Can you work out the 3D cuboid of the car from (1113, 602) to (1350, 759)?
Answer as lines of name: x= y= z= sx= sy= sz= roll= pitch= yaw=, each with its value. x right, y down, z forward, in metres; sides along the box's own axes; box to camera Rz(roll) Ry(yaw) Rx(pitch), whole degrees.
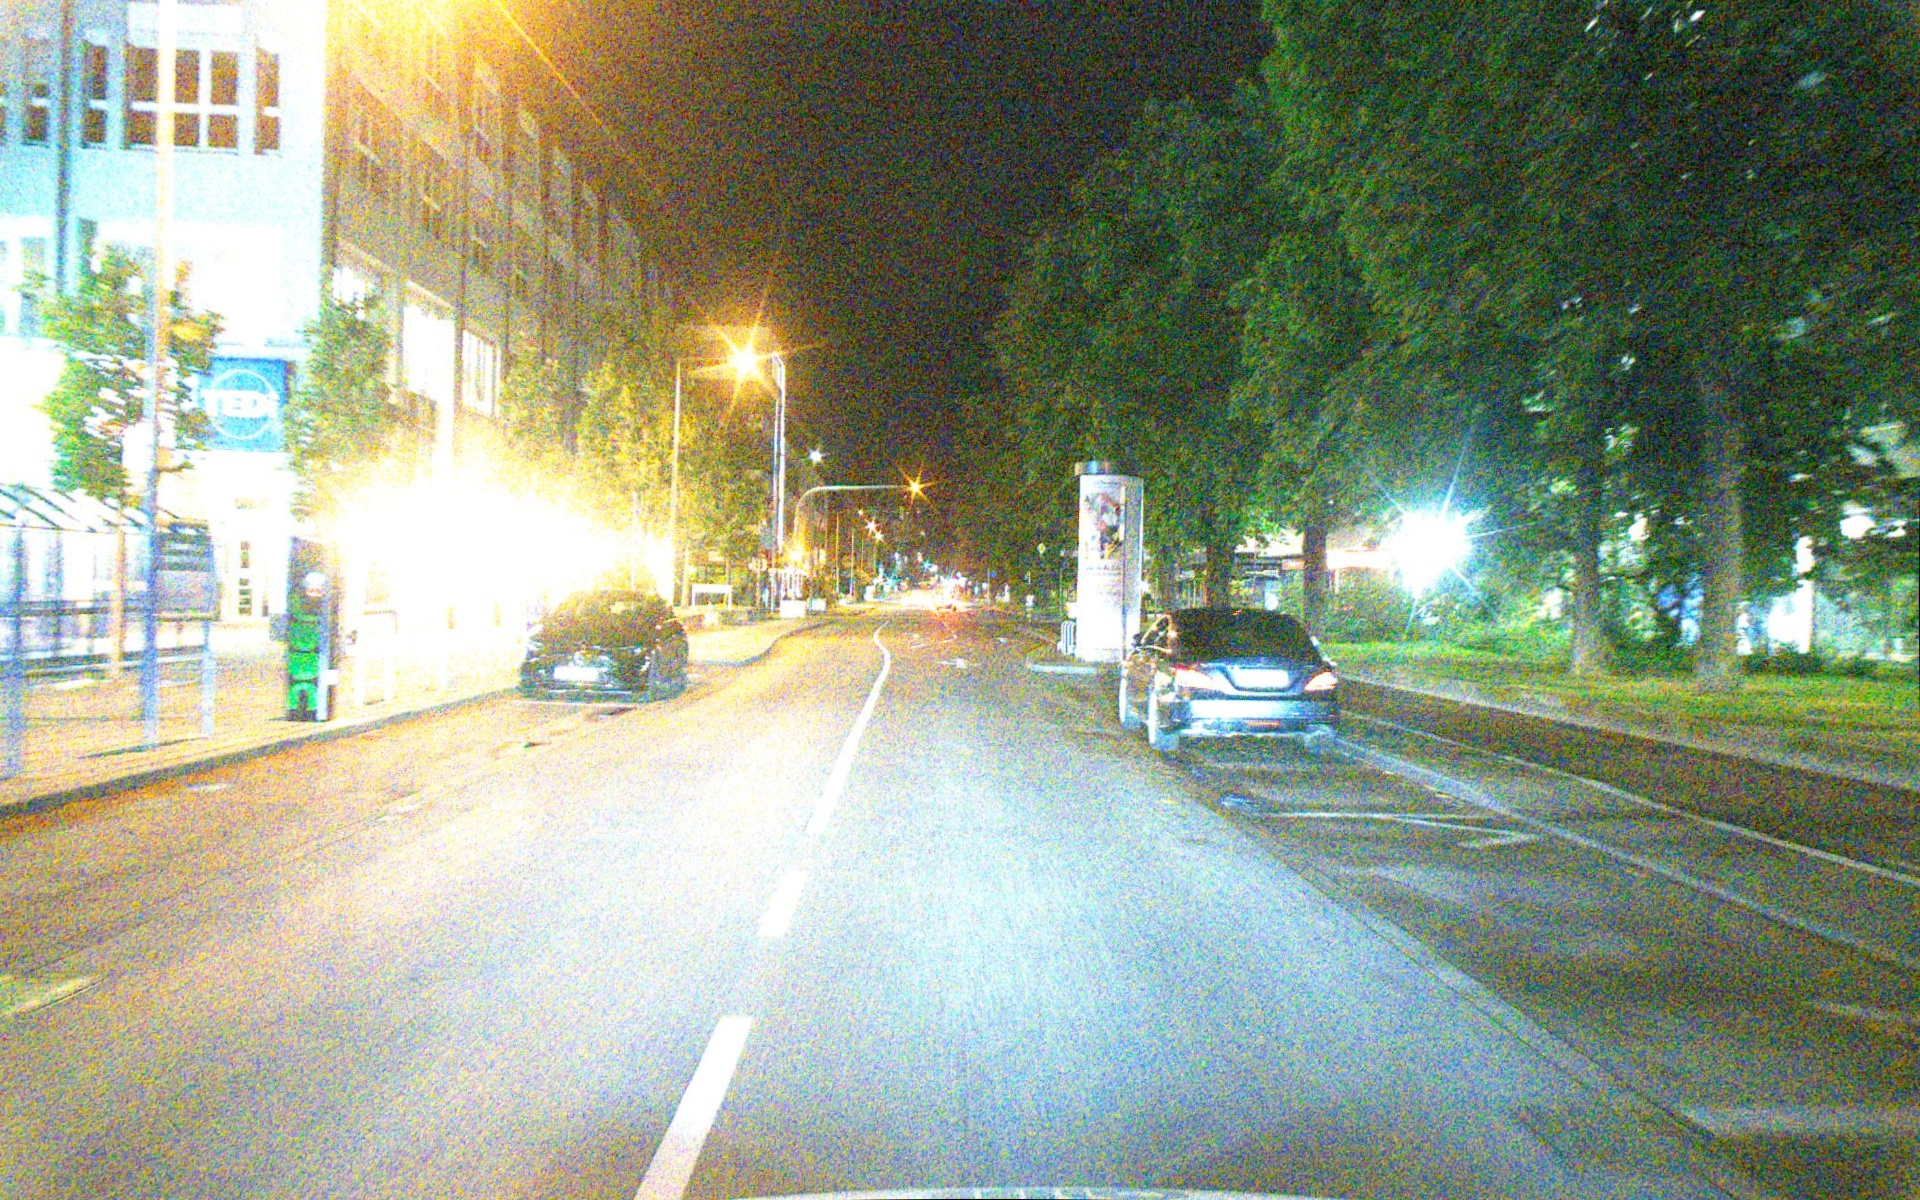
car: x=2.763 y=0.756 z=17.885 sx=1.728 sy=1.439 sz=4.807 roll=0 pitch=0 yaw=-1

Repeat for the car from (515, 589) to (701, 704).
car: x=-4.920 y=0.596 z=23.698 sx=1.706 sy=1.438 sz=4.495 roll=2 pitch=0 yaw=-1

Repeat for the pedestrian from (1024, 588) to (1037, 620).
pedestrian: x=4.044 y=0.218 z=95.382 sx=0.688 sy=1.850 sz=1.082 roll=0 pitch=0 yaw=-1

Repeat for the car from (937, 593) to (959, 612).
car: x=-1.110 y=0.236 z=149.948 sx=1.953 sy=1.672 sz=3.999 roll=0 pitch=0 yaw=-2

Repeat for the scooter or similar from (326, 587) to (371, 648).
scooter or similar: x=-12.701 y=0.362 z=34.388 sx=0.379 sy=1.242 sz=1.344 roll=1 pitch=0 yaw=1

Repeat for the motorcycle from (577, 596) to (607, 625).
motorcycle: x=-13.218 y=0.372 z=59.450 sx=0.468 sy=1.038 sz=1.676 roll=1 pitch=0 yaw=9
